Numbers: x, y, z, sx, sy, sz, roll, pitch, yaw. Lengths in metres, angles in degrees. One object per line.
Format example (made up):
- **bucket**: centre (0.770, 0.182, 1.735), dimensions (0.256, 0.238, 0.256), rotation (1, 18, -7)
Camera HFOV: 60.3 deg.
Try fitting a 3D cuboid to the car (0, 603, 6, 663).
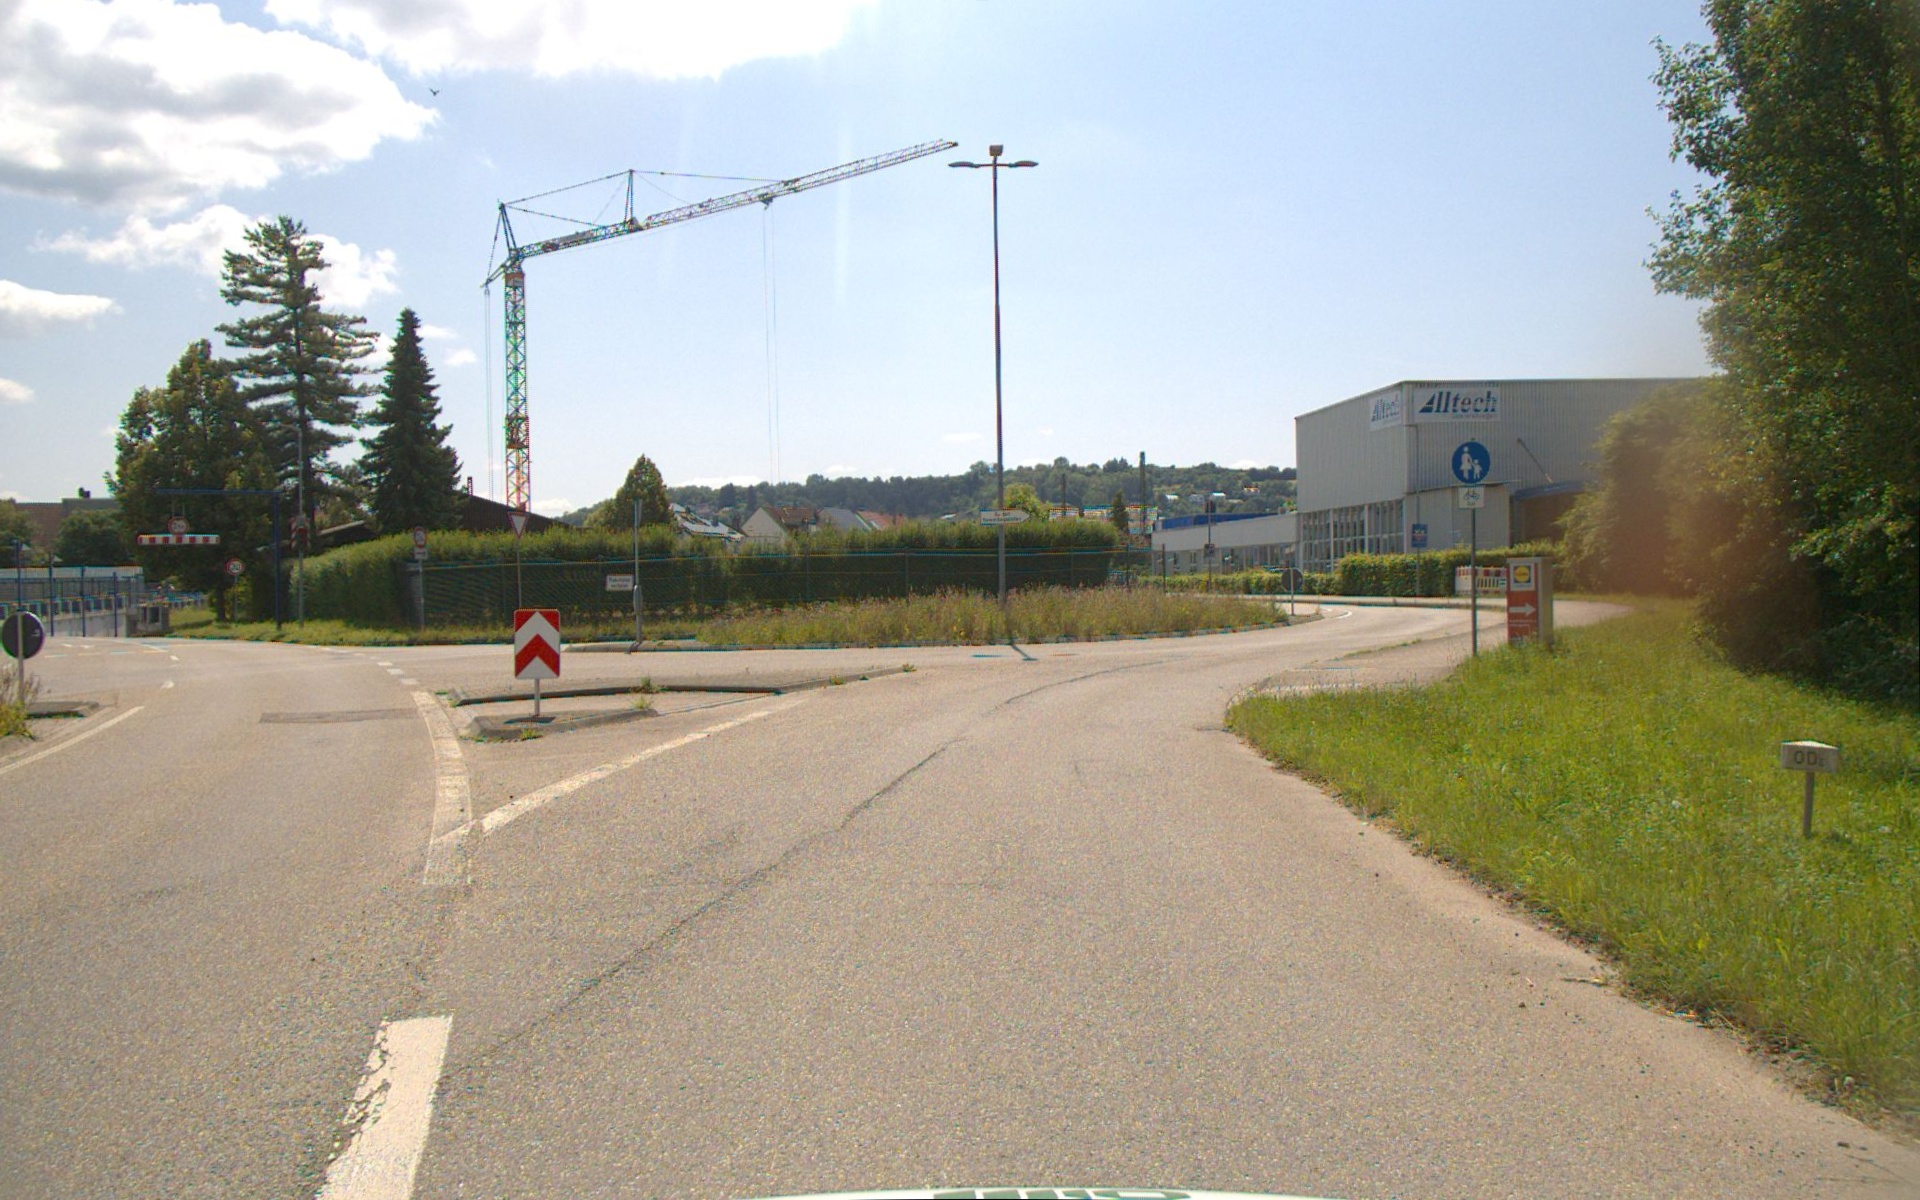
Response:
- **car**: centre (-25.606, 0.863, 42.325), dimensions (1.859, 1.489, 4.345), rotation (-3, 1, -28)
